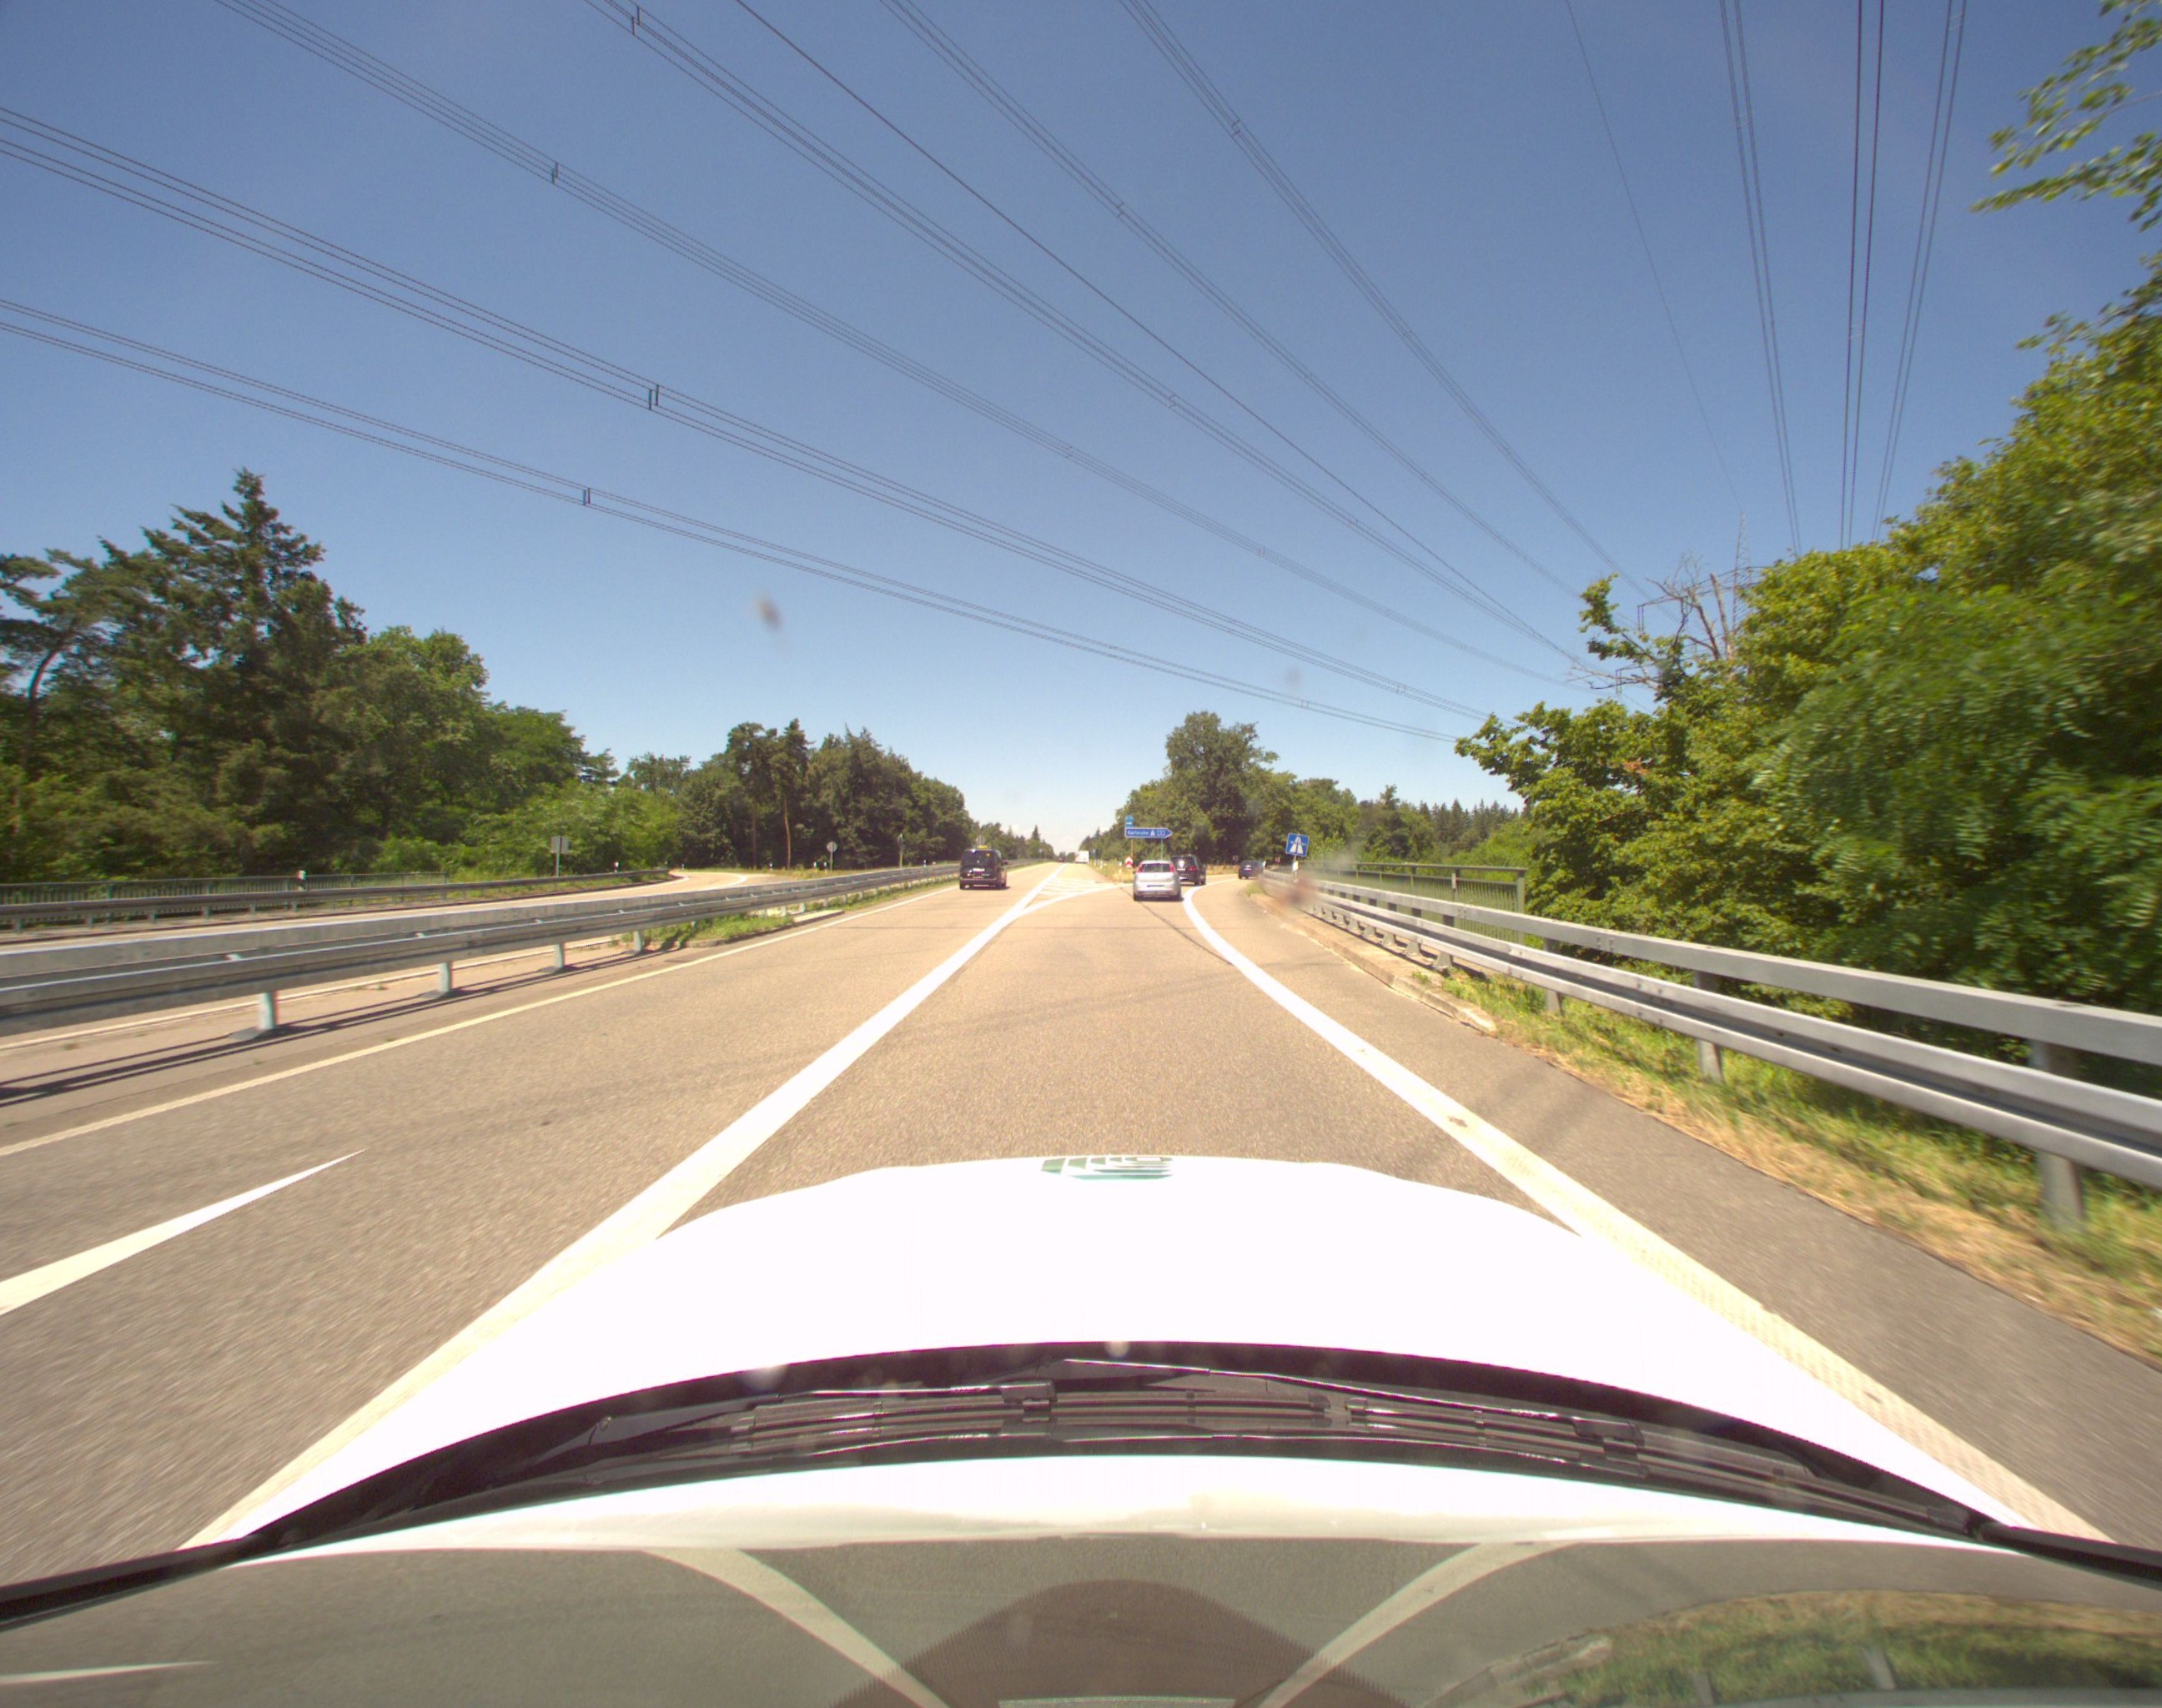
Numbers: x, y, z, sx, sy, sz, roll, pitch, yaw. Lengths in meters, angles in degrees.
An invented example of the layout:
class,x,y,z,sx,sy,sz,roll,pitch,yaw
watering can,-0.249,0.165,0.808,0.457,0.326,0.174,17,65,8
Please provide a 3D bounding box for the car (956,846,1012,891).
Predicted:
class,x,y,z,sx,sy,sz,roll,pitch,yaw
car,-4.403,0.638,37.682,1.848,1.887,5.573,-1,0,0

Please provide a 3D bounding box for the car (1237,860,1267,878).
class,x,y,z,sx,sy,sz,roll,pitch,yaw
car,13.255,1.136,63.110,1.626,1.342,3.593,2,0,22

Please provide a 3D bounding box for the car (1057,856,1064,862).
class,x,y,z,sx,sy,sz,roll,pitch,yaw
car,-5.789,1.428,232.547,1.707,1.471,3.573,2,0,0

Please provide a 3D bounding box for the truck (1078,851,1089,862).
class,x,y,z,sx,sy,sz,roll,pitch,yaw
truck,0.678,0.693,199.126,2.610,2.642,7.664,0,0,-1

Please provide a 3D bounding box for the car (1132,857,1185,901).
class,x,y,z,sx,sy,sz,roll,pitch,yaw
car,2.910,0.889,30.006,1.630,1.468,3.428,2,0,10

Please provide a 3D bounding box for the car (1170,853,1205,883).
class,x,y,z,sx,sy,sz,roll,pitch,yaw
car,6.204,0.790,47.250,1.629,1.654,3.586,2,0,13
